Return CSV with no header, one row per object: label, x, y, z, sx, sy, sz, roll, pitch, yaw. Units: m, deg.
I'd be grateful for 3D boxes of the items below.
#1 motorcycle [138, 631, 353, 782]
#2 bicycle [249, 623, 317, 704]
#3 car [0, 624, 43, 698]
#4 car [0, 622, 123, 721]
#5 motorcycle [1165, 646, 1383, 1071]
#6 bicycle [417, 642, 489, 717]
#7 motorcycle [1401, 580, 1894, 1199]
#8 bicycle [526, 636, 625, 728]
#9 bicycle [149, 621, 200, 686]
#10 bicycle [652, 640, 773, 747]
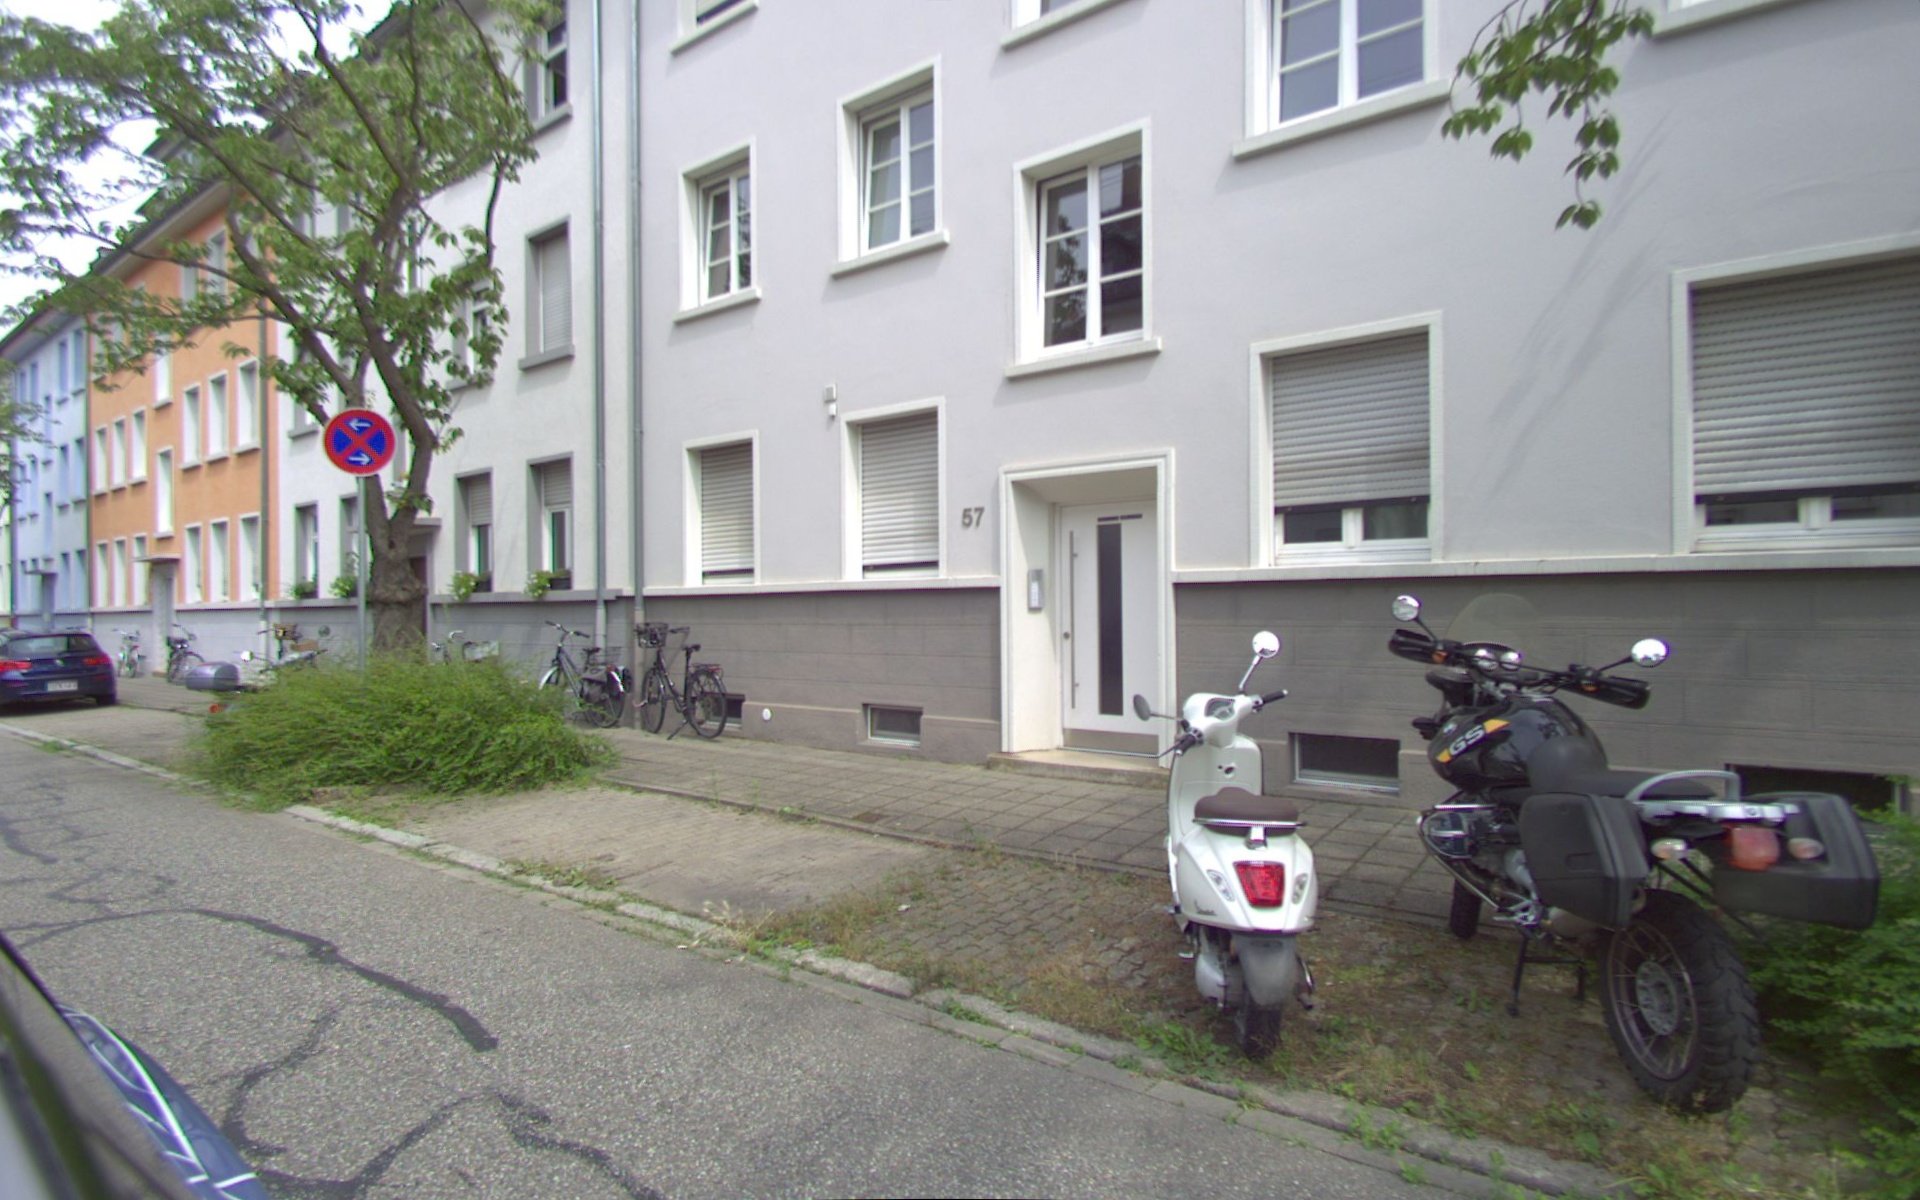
motorcycle,-7.346,1.039,10.562,0.781,1.418,2.018,1,-2,0
bicycle,-11.756,1.069,17.555,1.810,1.344,0.425,-1,-3,39
car,-21.623,1.305,21.902,4.085,1.495,1.820,-1,1,36
car,-16.857,1.210,18.171,4.112,1.495,1.820,-1,2,36
motorcycle,1.115,0.793,3.941,0.590,1.201,1.905,0,-2,11
bicycle,-7.017,1.080,13.988,1.432,0.974,0.306,-1,-3,39
motorcycle,2.161,0.737,3.604,0.590,1.493,2.231,0,-2,11
bicycle,-4.569,0.946,11.998,1.432,1.014,0.416,-1,-3,39
bicycle,-16.784,1.121,21.606,1.810,1.344,0.425,-1,-3,39
bicycle,-2.567,0.933,10.420,1.432,1.014,0.416,-1,-3,39
